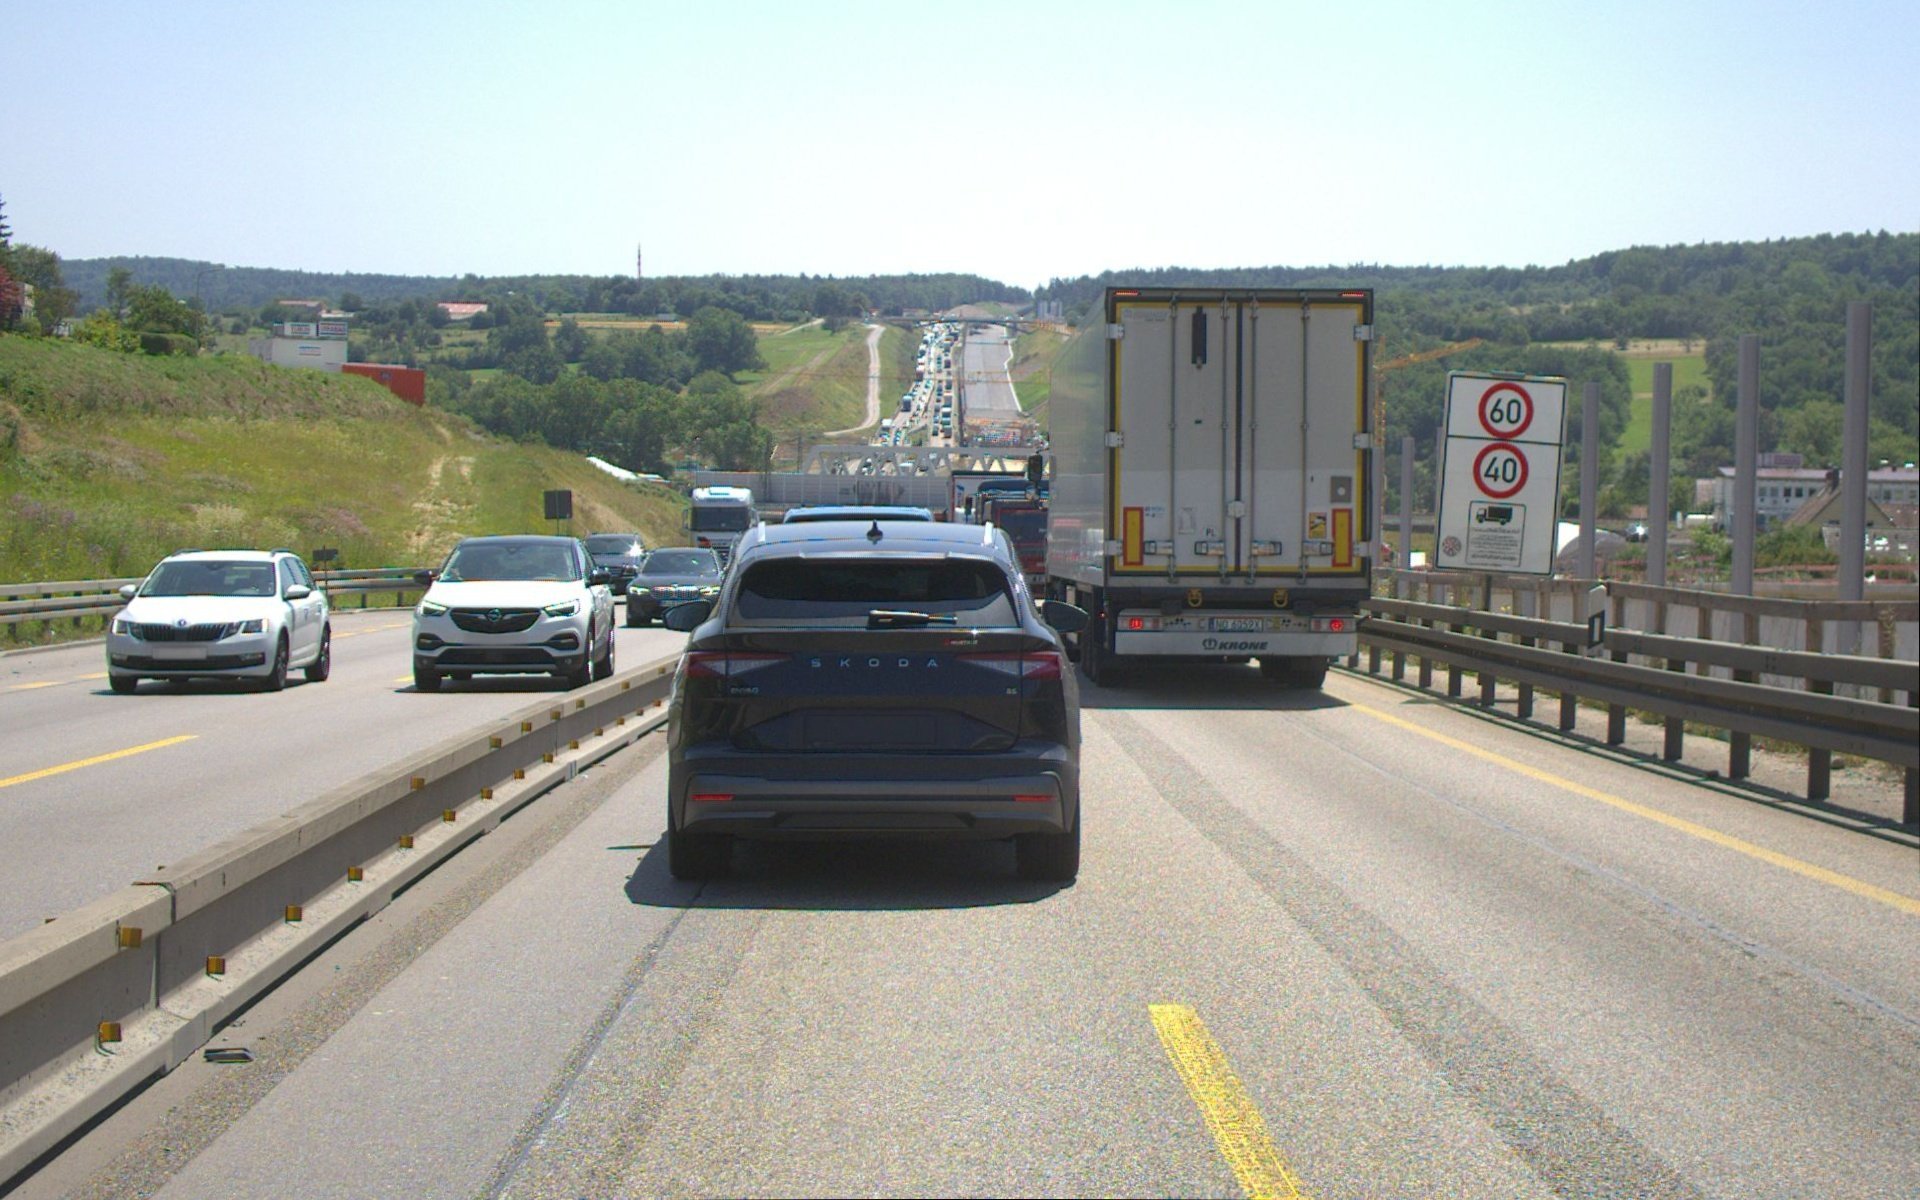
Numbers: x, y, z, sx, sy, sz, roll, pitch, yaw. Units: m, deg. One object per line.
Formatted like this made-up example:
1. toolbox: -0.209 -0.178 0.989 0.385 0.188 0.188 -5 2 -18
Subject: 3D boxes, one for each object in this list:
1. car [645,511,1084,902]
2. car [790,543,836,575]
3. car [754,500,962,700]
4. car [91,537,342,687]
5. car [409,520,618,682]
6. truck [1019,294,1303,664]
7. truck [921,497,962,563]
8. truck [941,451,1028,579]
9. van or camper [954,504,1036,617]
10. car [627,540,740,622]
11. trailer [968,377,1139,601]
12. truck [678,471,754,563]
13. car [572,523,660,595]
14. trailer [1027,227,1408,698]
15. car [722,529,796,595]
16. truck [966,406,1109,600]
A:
1. car: -0.398 0.423 16.192 1.802 1.602 4.000 0 0 0
2. car: -6.674 -1.879 156.015 1.895 1.409 4.679 0 1 0
3. car: -1.023 0.004 35.404 1.993 1.919 4.508 0 0 -1
4. car: -7.865 0.080 36.751 1.804 1.492 4.600 0 1 -2
5. car: -4.725 -0.025 36.873 1.806 1.634 4.172 0 1 -2
6. truck: 2.521 -1.568 46.063 3.180 4.497 8.166 0 1 -1
7. truck: -1.274 -4.657 231.030 2.639 4.179 9.284 0 0 -1
8. truck: 0.840 -3.055 128.440 2.852 4.450 11.918 0 0 -1
9. van or camper: 1.099 -1.137 103.506 2.389 3.269 6.468 0 0 1
10. car: -5.096 -0.375 63.754 1.798 1.461 4.356 -1 1 -1
11. trailer: 1.914 -2.261 77.328 3.180 4.498 14.967 0 0 -1
12. truck: -9.952 -3.368 140.657 2.779 3.660 6.278 0 1 -1
13. car: -8.652 -1.046 86.762 1.828 1.760 4.497 0 1 -1
14. trailer: 2.600 -1.471 39.572 3.180 4.497 13.109 0 1 -1
15. car: -5.558 -1.077 95.576 1.846 1.771 4.882 0 1 -1
16. truck: 1.825 -2.276 84.421 3.180 4.498 8.166 0 0 -1
